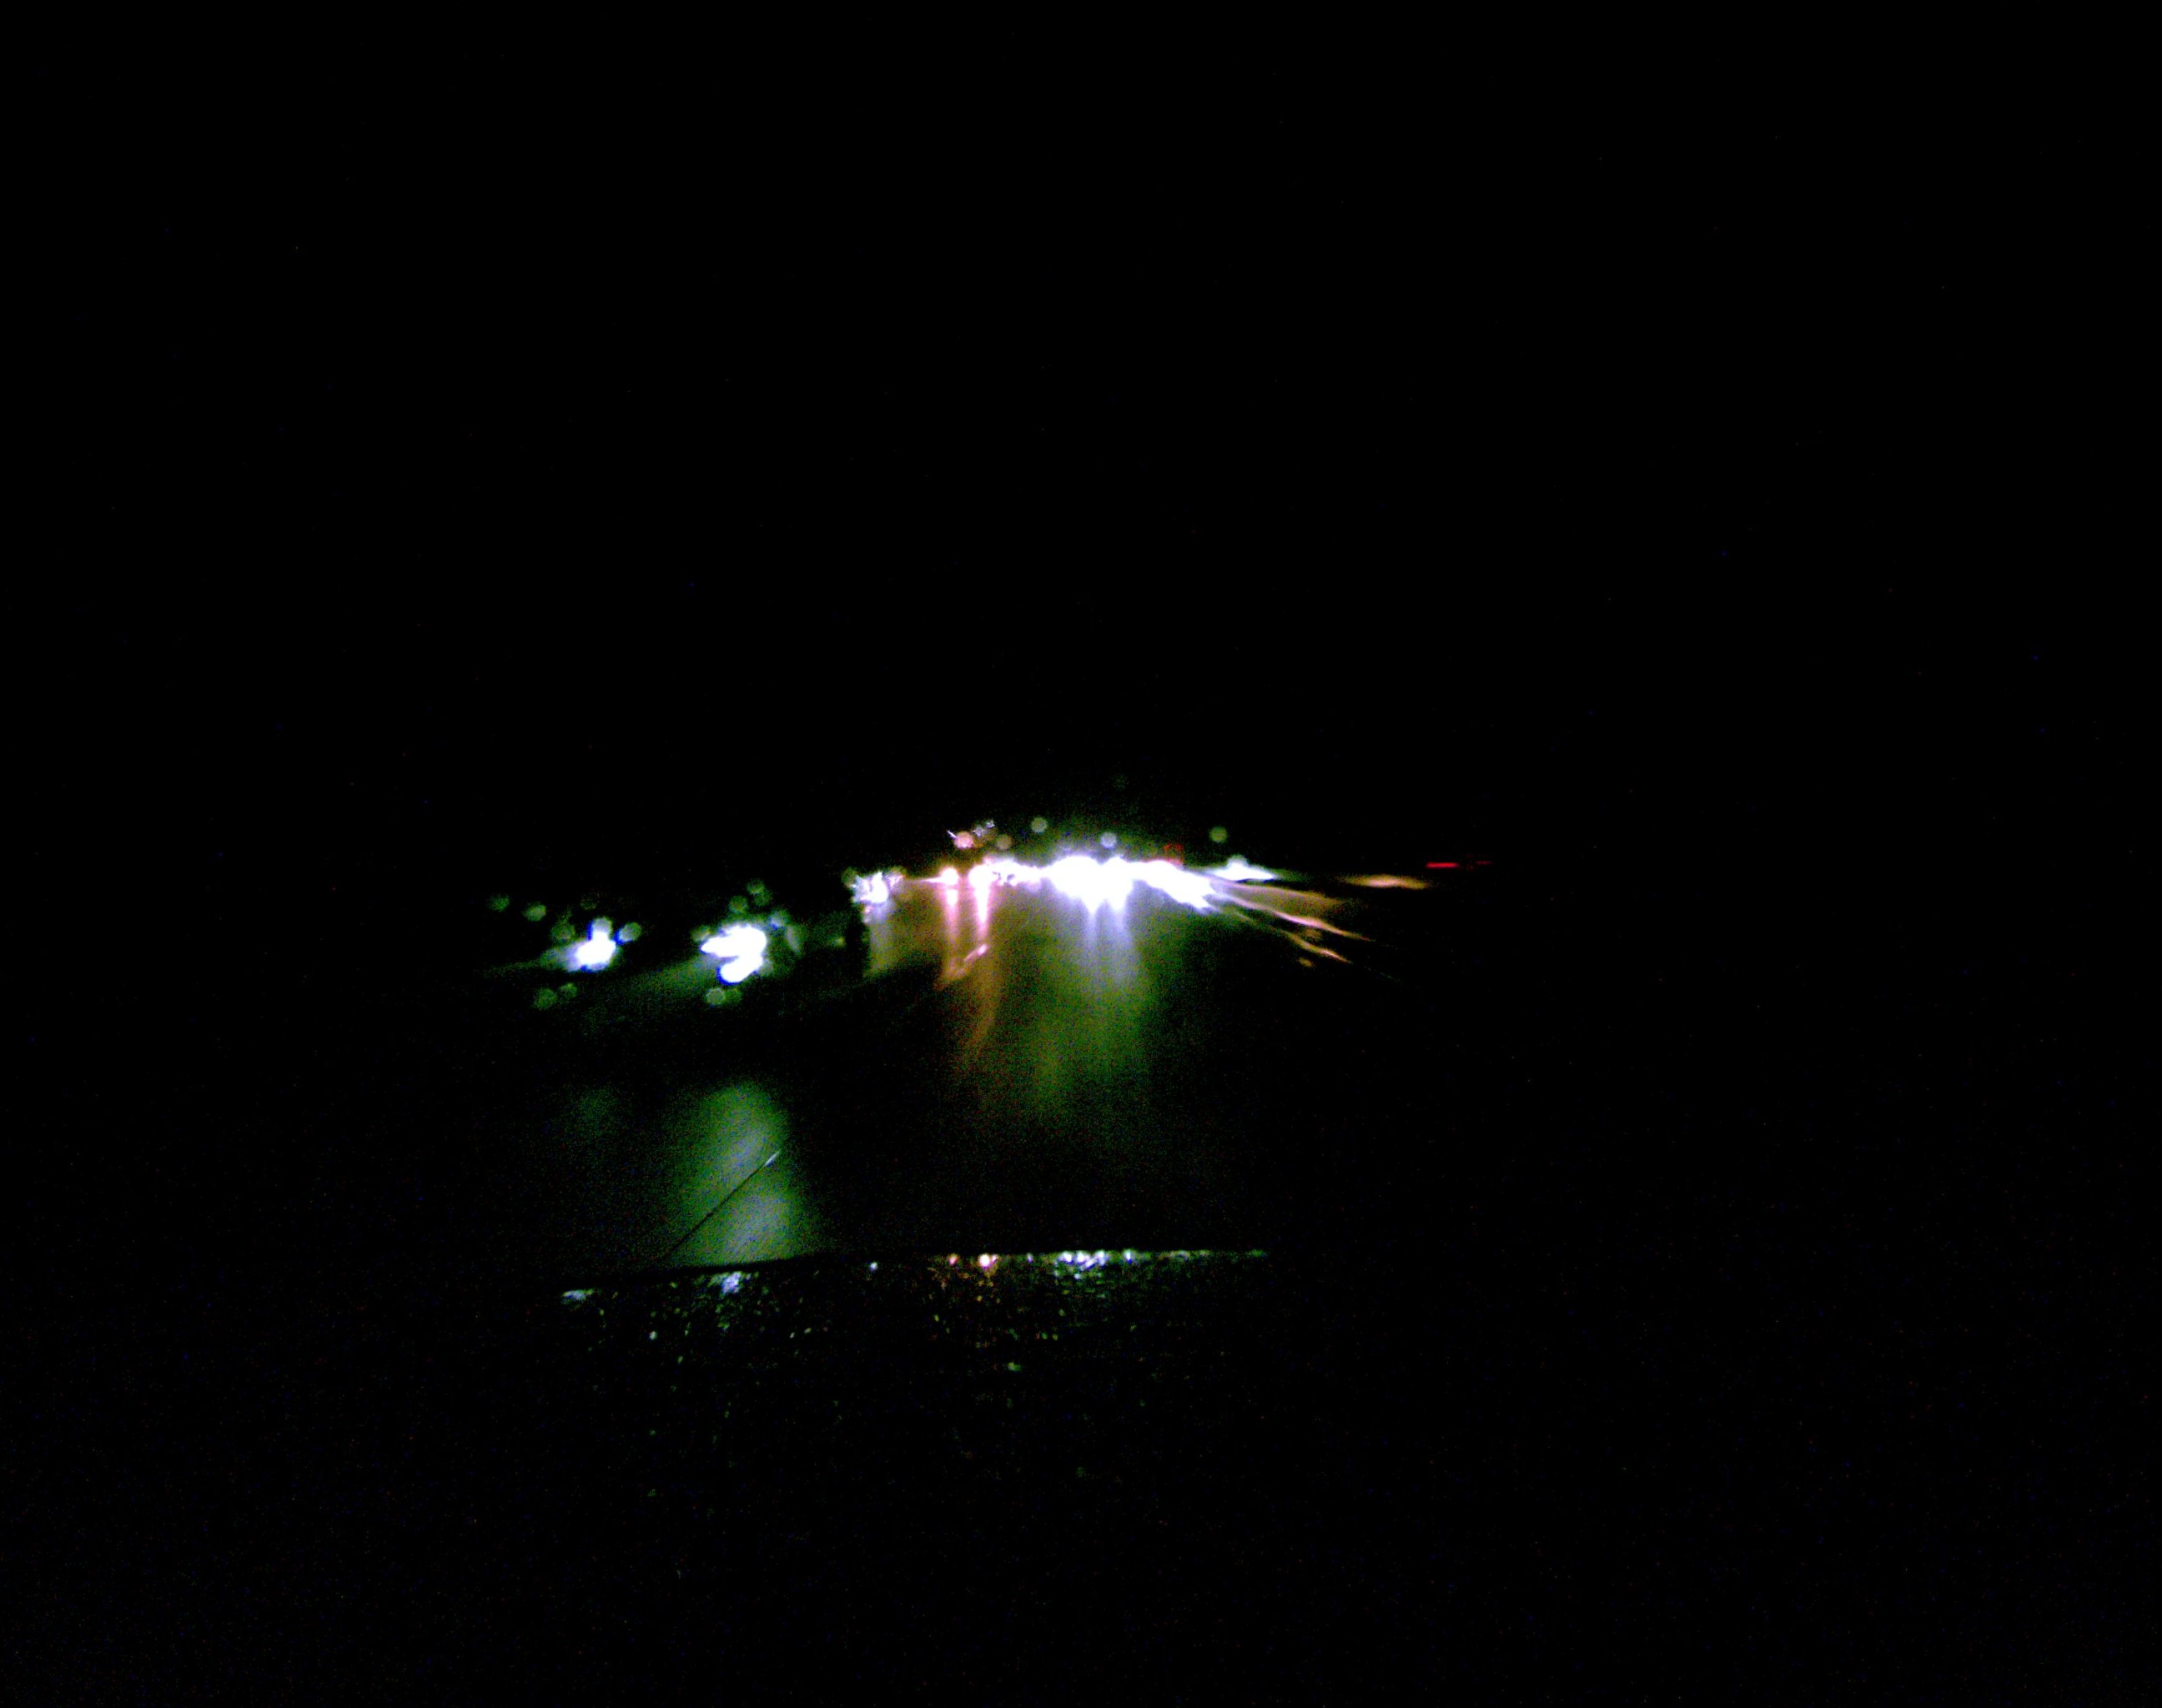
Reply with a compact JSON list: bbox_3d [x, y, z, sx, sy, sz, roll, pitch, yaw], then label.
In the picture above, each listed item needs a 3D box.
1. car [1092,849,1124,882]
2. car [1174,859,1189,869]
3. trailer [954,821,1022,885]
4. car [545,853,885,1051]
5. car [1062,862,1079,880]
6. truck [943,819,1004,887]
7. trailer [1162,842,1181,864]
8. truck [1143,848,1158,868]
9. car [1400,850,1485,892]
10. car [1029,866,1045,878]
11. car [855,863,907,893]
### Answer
[{"bbox_3d":[1.843,0.765,51.387,1.998,2.001,4.001,-3,0,3],"label":"car"},{"bbox_3d":[16.988,1.622,128.355,1.998,1.516,4.670,-5,0,2],"label":"car"},{"bbox_3d":[-6.592,-0.079,56.142,2.746,3.955,13.820,-5,0,1],"label":"trailer"},{"bbox_3d":[-3.653,0.871,8.436,1.848,1.614,3.679,-4,-1,1],"label":"car"},{"bbox_3d":[-1.337,2.207,99.209,1.998,2.002,4.000,-5,0,2],"label":"car"},{"bbox_3d":[-6.772,-0.083,48.804,2.782,3.946,5.198,-5,0,1],"label":"truck"},{"bbox_3d":[20.726,-0.247,174.293,2.629,4.518,13.722,-5,0,1],"label":"trailer"},{"bbox_3d":[22.234,1.294,244.452,3.337,6.068,16.624,-5,0,1],"label":"truck"},{"bbox_3d":[17.180,0.759,36.374,1.998,1.709,4.288,-5,0,1],"label":"car"},{"bbox_3d":[-7.106,2.896,122.813,1.998,1.615,4.626,-5,0,1],"label":"car"},{"bbox_3d":[-12.415,1.475,47.349,1.919,1.580,4.117,-5,0,1],"label":"car"}]
